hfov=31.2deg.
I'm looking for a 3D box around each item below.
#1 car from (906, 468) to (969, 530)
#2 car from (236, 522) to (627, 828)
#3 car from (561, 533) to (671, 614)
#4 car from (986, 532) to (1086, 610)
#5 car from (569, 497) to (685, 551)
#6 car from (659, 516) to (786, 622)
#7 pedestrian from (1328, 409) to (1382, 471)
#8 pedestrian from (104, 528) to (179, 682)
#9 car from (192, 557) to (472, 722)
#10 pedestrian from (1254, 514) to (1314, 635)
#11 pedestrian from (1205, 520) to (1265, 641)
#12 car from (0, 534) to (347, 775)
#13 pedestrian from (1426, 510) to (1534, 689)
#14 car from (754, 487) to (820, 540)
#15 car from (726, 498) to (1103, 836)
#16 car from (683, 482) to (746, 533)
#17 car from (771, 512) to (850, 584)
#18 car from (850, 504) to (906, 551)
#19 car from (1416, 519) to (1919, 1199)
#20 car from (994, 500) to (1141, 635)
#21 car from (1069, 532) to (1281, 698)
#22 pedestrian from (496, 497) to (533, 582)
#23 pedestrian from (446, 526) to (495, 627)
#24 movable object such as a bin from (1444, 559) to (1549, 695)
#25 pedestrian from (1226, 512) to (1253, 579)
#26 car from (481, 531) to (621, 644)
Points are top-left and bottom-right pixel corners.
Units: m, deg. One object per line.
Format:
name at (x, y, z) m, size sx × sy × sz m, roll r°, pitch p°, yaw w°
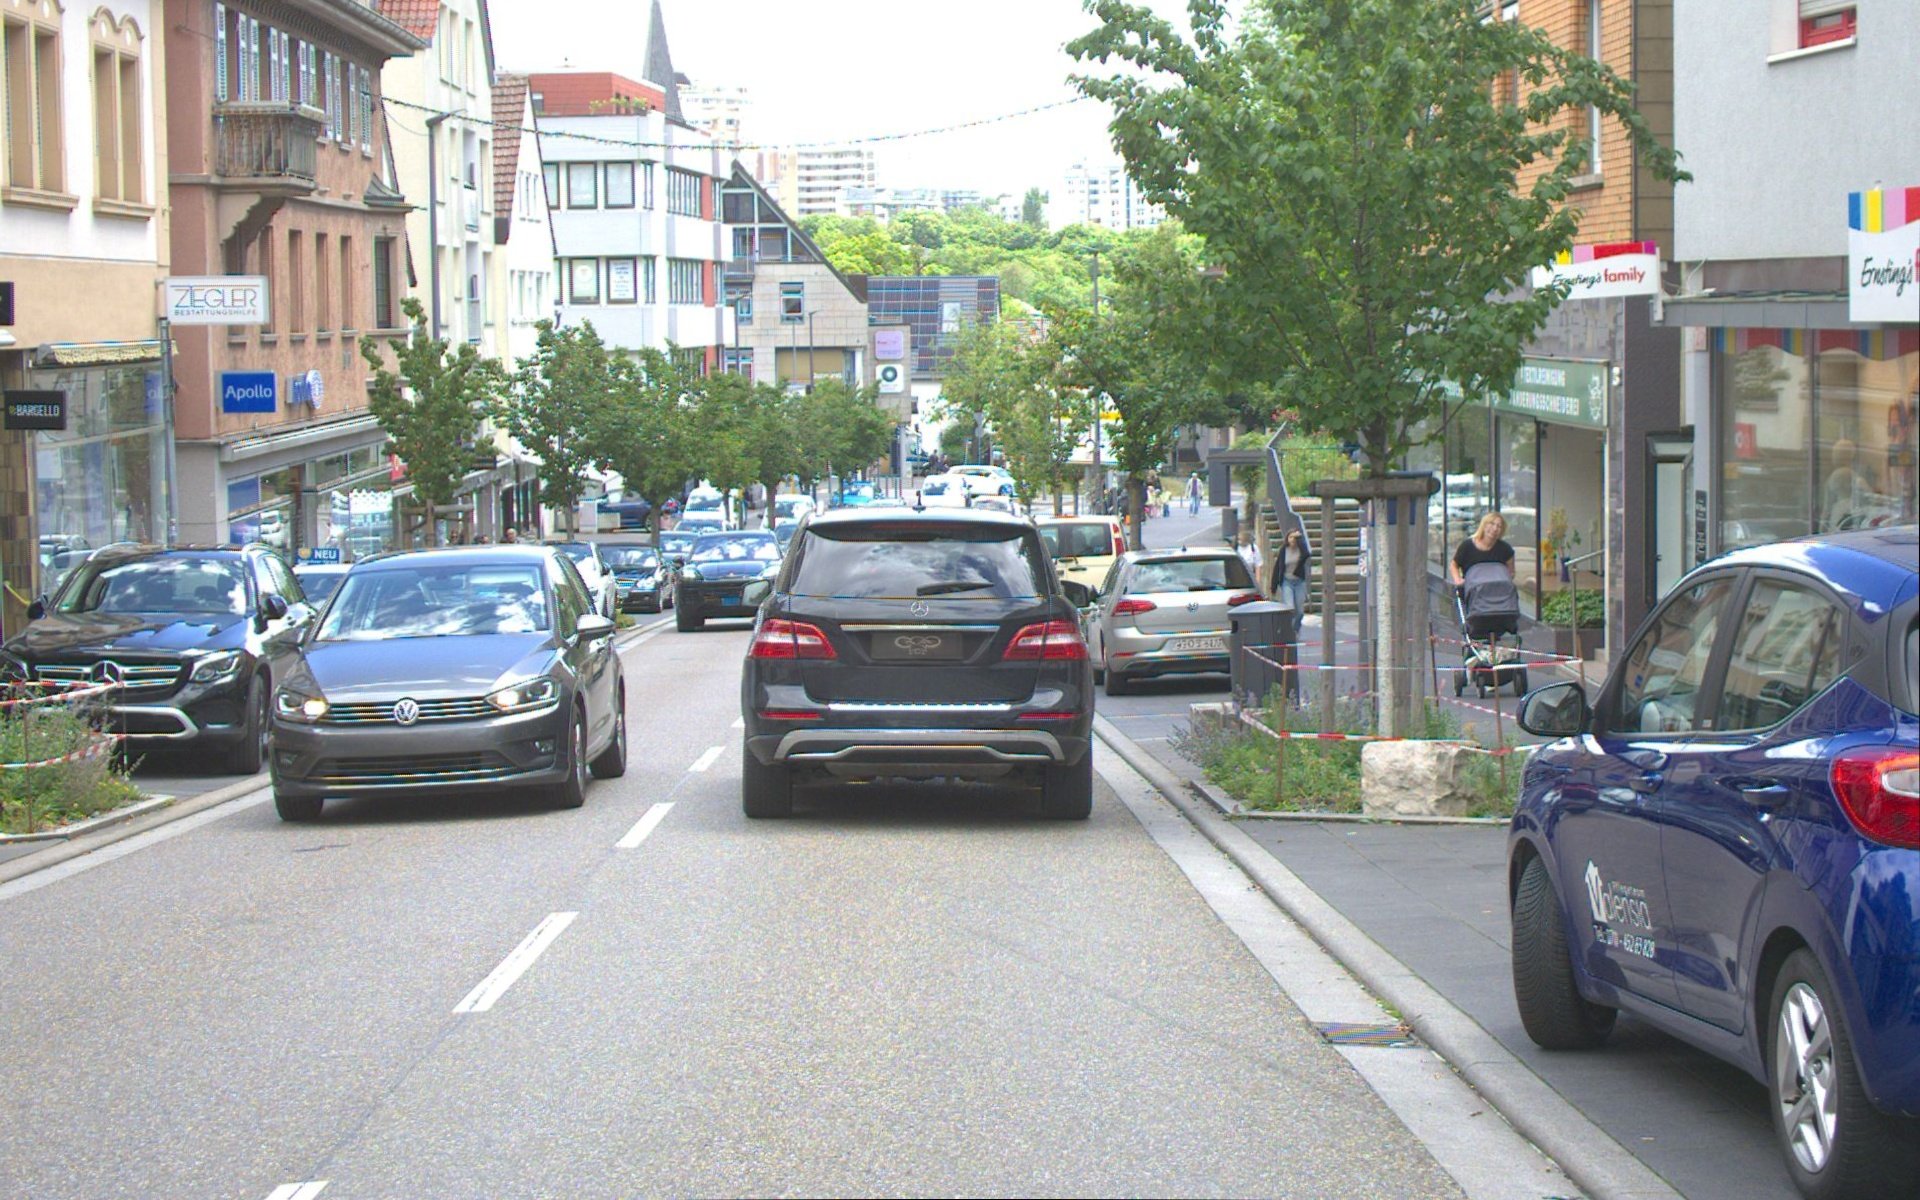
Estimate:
car at (-0.863, -4.019, 136.414) m, size 2.174 × 2.356 × 4.622 m, roll -1°, pitch 2°, yaw 3°
car at (-3.119, 0.381, 21.071) m, size 1.819 × 1.612 × 4.136 m, roll -2°, pitch 1°, yaw -2°
car at (-7.051, -0.570, 70.811) m, size 1.926 × 1.491 × 4.263 m, roll 2°, pitch 2°, yaw -2°
car at (1.543, -0.631, 71.193) m, size 1.938 × 1.452 × 4.707 m, roll -1°, pitch 2°, yaw 0°
car at (-11.791, -2.697, 122.068) m, size 3.986 × 1.744 × 2.000 m, roll -3°, pitch 1°, yaw -4°
car at (-4.092, -0.575, 59.743) m, size 1.992 × 1.712 × 4.448 m, roll -1°, pitch 2°, yaw -2°
pedestrian at (7.994, -3.228, 69.544) m, size 0.990 × 1.227 × 0.984 m, roll 0°, pitch 1°, yaw 1°
pedestrian at (-8.535, 0.041, 35.884) m, size 0.547 × 1.570 × 0.863 m, roll -2°, pitch 2°, yaw -1°
car at (-5.996, 0.331, 33.294) m, size 1.926 × 1.425 × 4.262 m, roll 0°, pitch 2°, yaw 0°
pedestrian at (4.476, -0.357, 47.490) m, size 0.671 × 1.627 × 0.670 m, roll -3°, pitch 1°, yaw -3°
pedestrian at (3.783, -0.276, 47.376) m, size 0.671 × 1.627 × 0.670 m, roll -3°, pitch 1°, yaw -3°
car at (-5.894, 0.327, 25.689) m, size 1.926 × 1.616 × 4.640 m, roll 1°, pitch 1°, yaw -2°
pedestrian at (4.784, -0.014, 31.655) m, size 0.735 × 1.579 × 1.000 m, roll -3°, pitch 1°, yaw -2°
car at (-5.601, -2.813, 111.774) m, size 1.926 × 1.623 × 4.262 m, roll 2°, pitch 2°, yaw -1°
car at (-0.253, 0.289, 20.044) m, size 1.943 × 1.734 × 4.179 m, roll 1°, pitch 2°, yaw 0°
car at (-8.163, -3.103, 114.727) m, size 1.926 × 1.623 × 4.415 m, roll 2°, pitch 2°, yaw -2°
car at (-3.521, -1.255, 81.585) m, size 1.764 × 1.611 × 4.033 m, roll -2°, pitch 2°, yaw -1°
car at (-2.761, -2.434, 115.309) m, size 1.812 × 1.503 × 4.001 m, roll -1°, pitch 1°, yaw -1°
car at (2.507, 0.540, 8.886) m, size 1.748 × 1.492 × 3.801 m, roll -3°, pitch 1°, yaw -5°
car at (1.616, -0.546, 53.196) m, size 1.938 × 1.885 × 4.707 m, roll -3°, pitch 2°, yaw -1°
car at (2.173, 0.107, 35.792) m, size 1.748 × 1.460 × 4.075 m, roll -4°, pitch 2°, yaw -1°
pedestrian at (-8.681, -1.181, 66.964) m, size 0.641 × 1.662 × 0.720 m, roll 0°, pitch 1°, yaw -1°
pedestrian at (-8.136, -0.392, 57.170) m, size 0.727 × 1.662 × 0.720 m, roll 0°, pitch 1°, yaw -1°
movable object such as a bin at (4.787, 0.236, 30.707) m, size 0.721 × 1.154 × 0.907 m, roll -3°, pitch 1°, yaw -2°
pedestrian at (6.616, -1.289, 81.451) m, size 0.568 × 1.581 × 0.666 m, roll -1°, pitch 1°, yaw 8°
car at (-6.424, -0.235, 54.387) m, size 1.926 × 1.590 × 4.459 m, roll 2°, pitch 2°, yaw -4°
